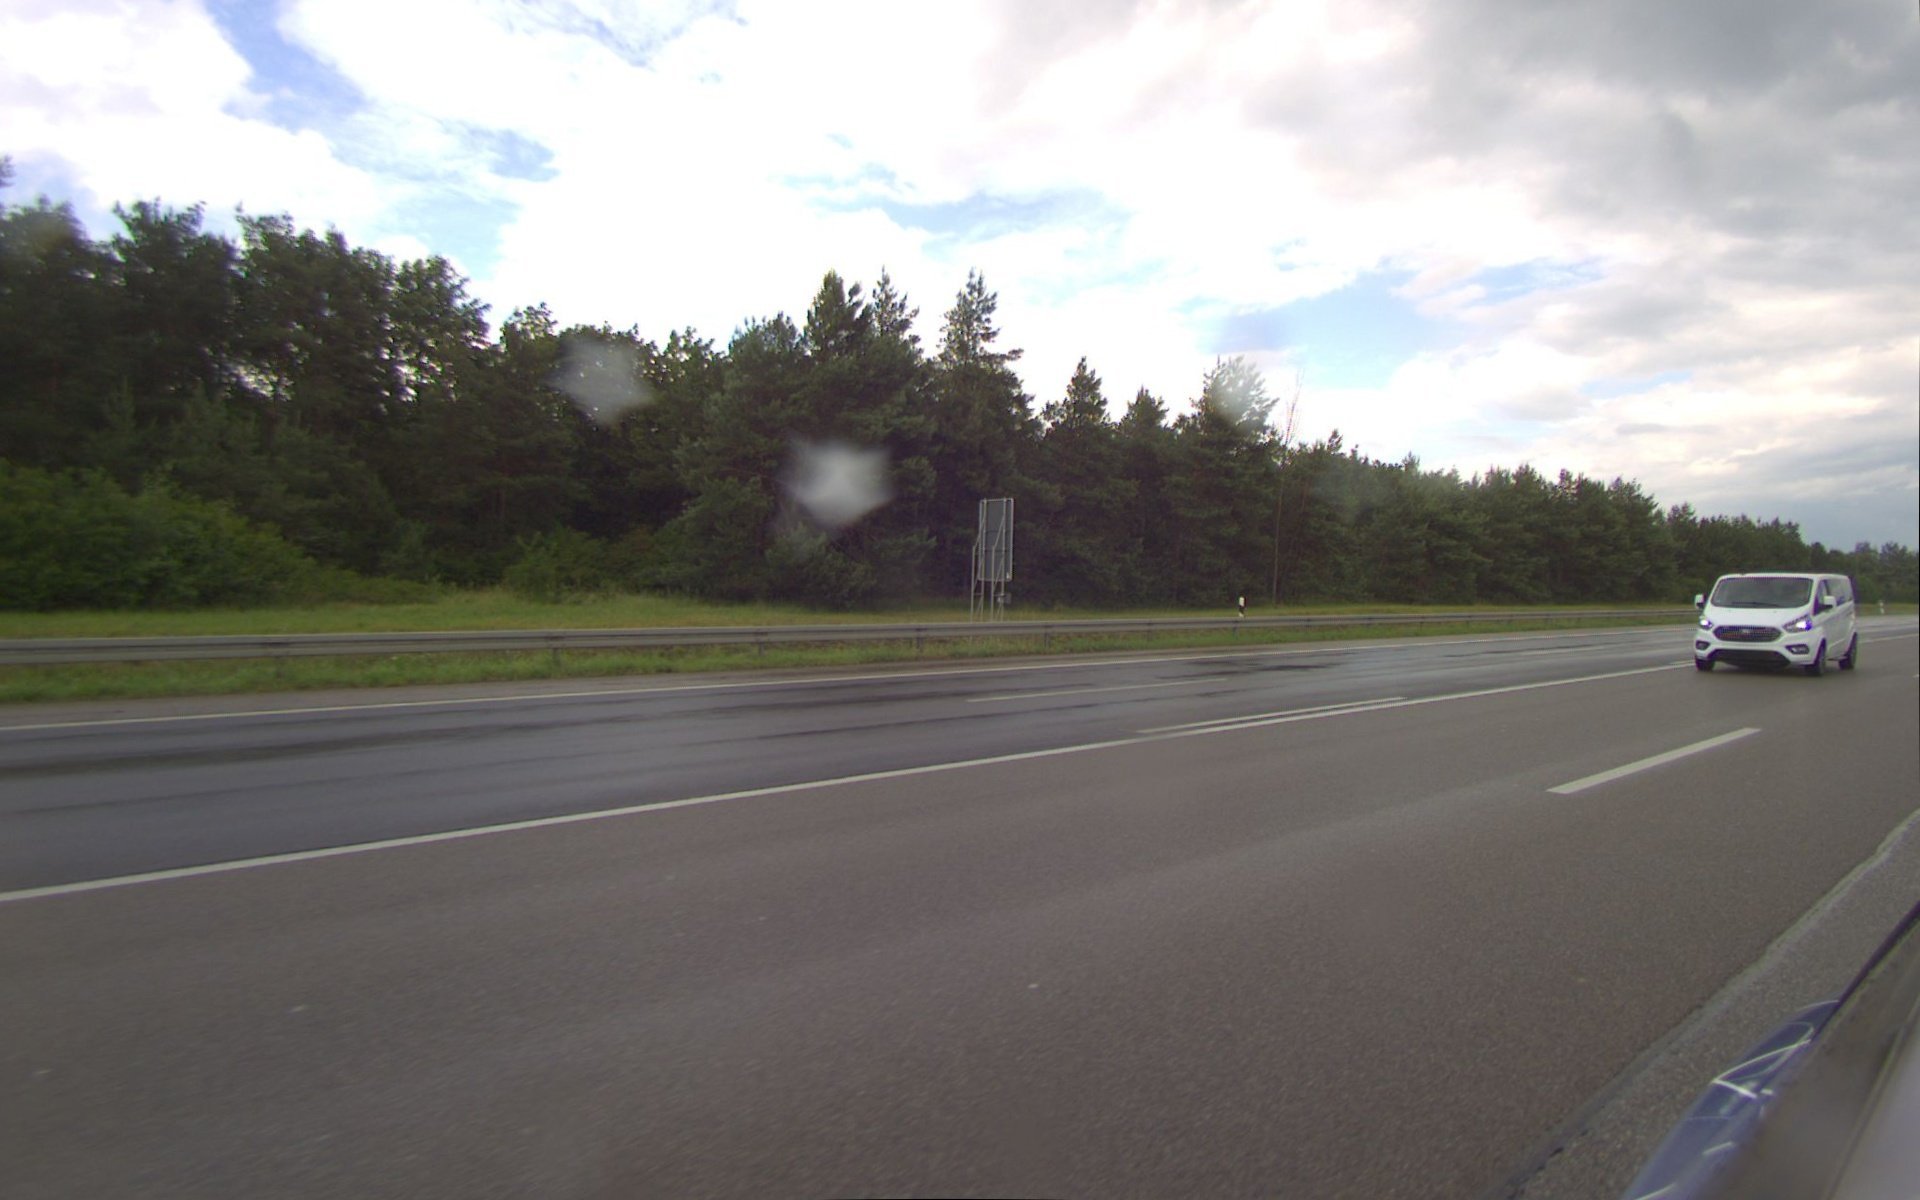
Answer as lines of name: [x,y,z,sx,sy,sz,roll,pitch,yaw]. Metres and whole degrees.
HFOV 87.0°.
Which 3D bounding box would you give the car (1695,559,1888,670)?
car: [17.286,0.255,20.931,5.383,2.039,1.998,0,0,-38]
